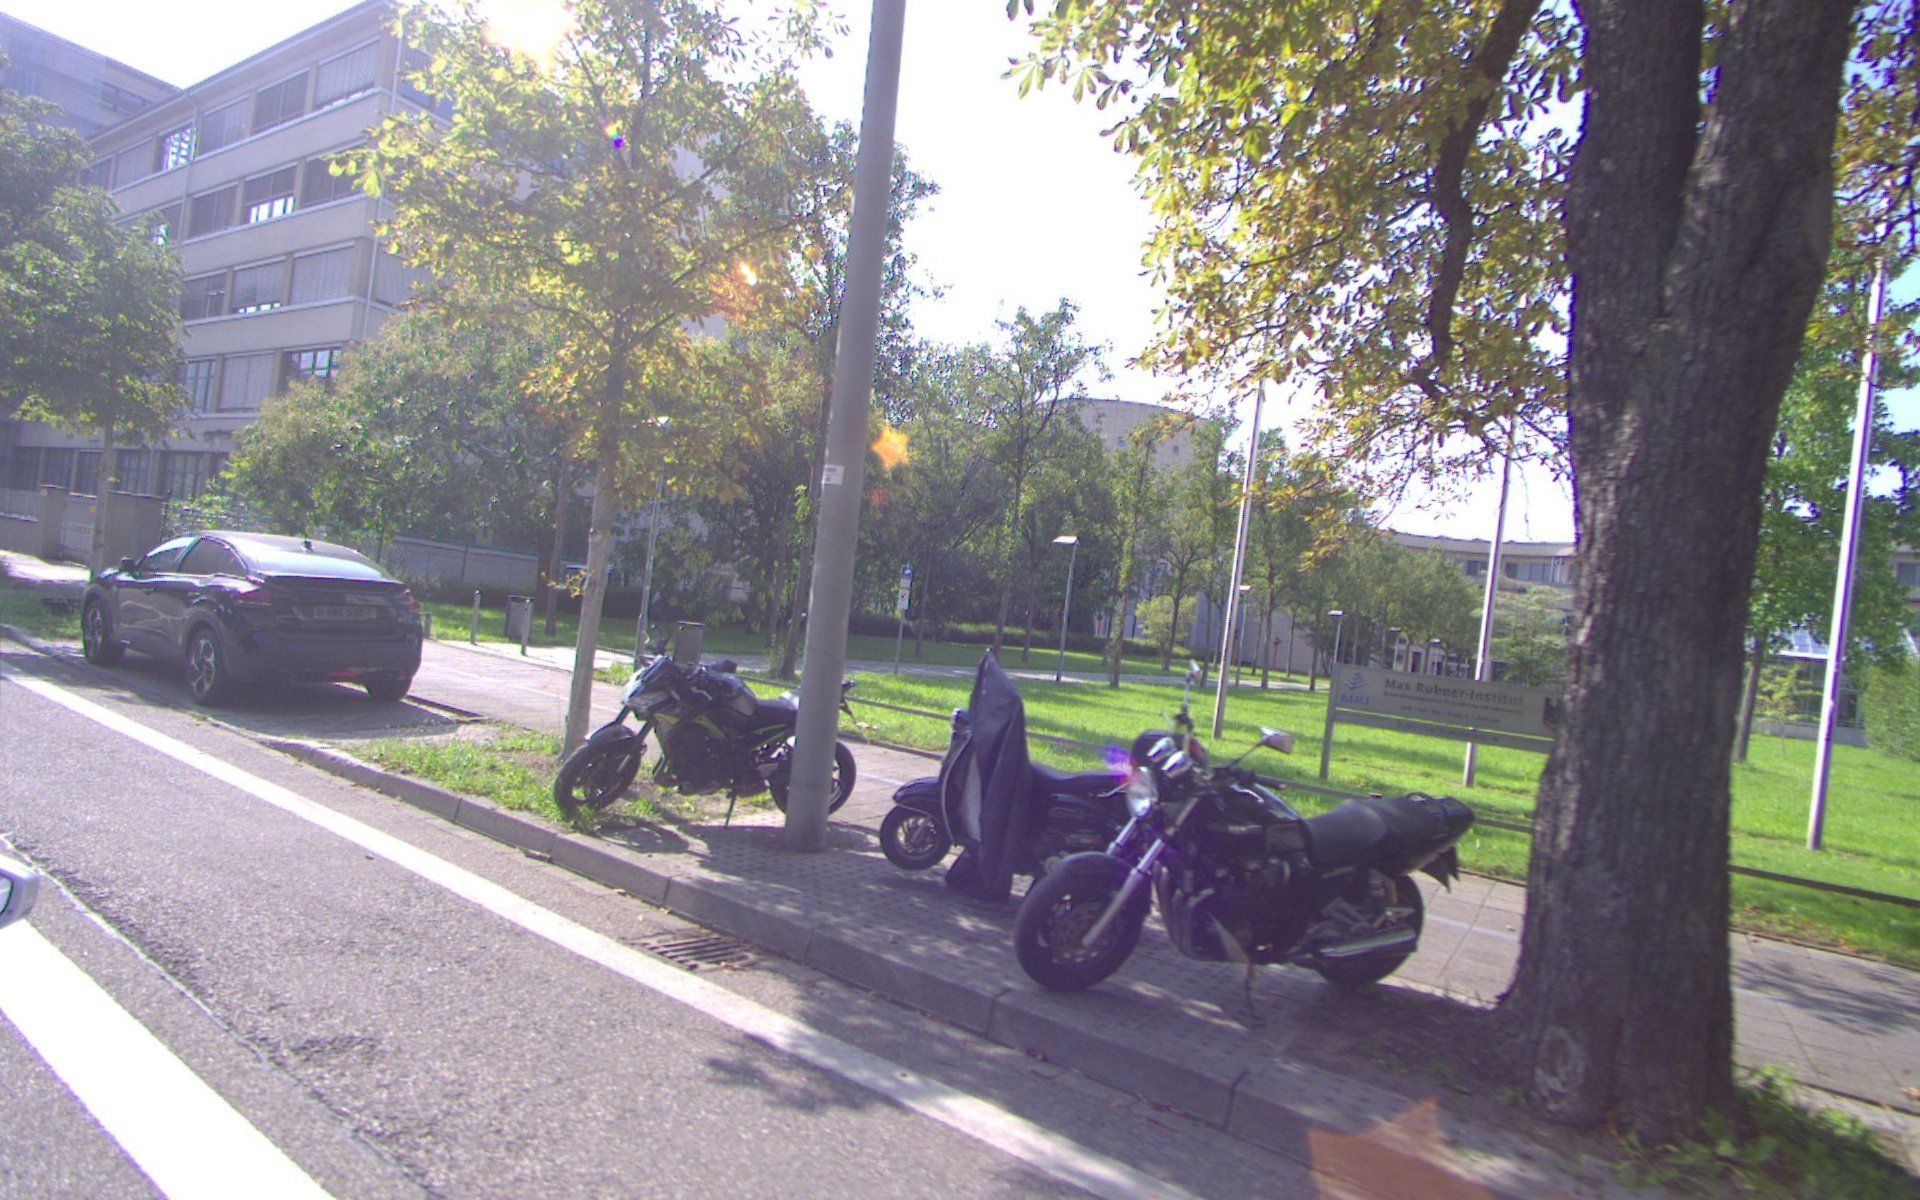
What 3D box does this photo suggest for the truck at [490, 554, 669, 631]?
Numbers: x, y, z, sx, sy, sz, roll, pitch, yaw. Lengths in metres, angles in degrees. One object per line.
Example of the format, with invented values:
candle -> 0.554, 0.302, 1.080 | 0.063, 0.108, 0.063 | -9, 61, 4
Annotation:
truck -> -15.113, -0.235, 40.471 | 2.087, 2.241, 6.574 | 6, -2, 34

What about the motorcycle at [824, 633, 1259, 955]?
motorcycle -> 0.422, 0.970, 5.433 | 2.028, 1.344, 0.845 | 6, 0, 5

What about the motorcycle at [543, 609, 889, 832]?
motorcycle -> -1.543, 0.809, 6.532 | 1.969, 1.239, 0.640 | 8, -1, -31

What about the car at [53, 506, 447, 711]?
car -> -7.424, 0.020, 10.390 | 4.364, 1.504, 1.742 | 7, 1, 33

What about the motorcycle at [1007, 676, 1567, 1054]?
motorcycle -> 1.353, 1.076, 4.252 | 2.036, 1.258, 0.841 | 6, 0, -18
